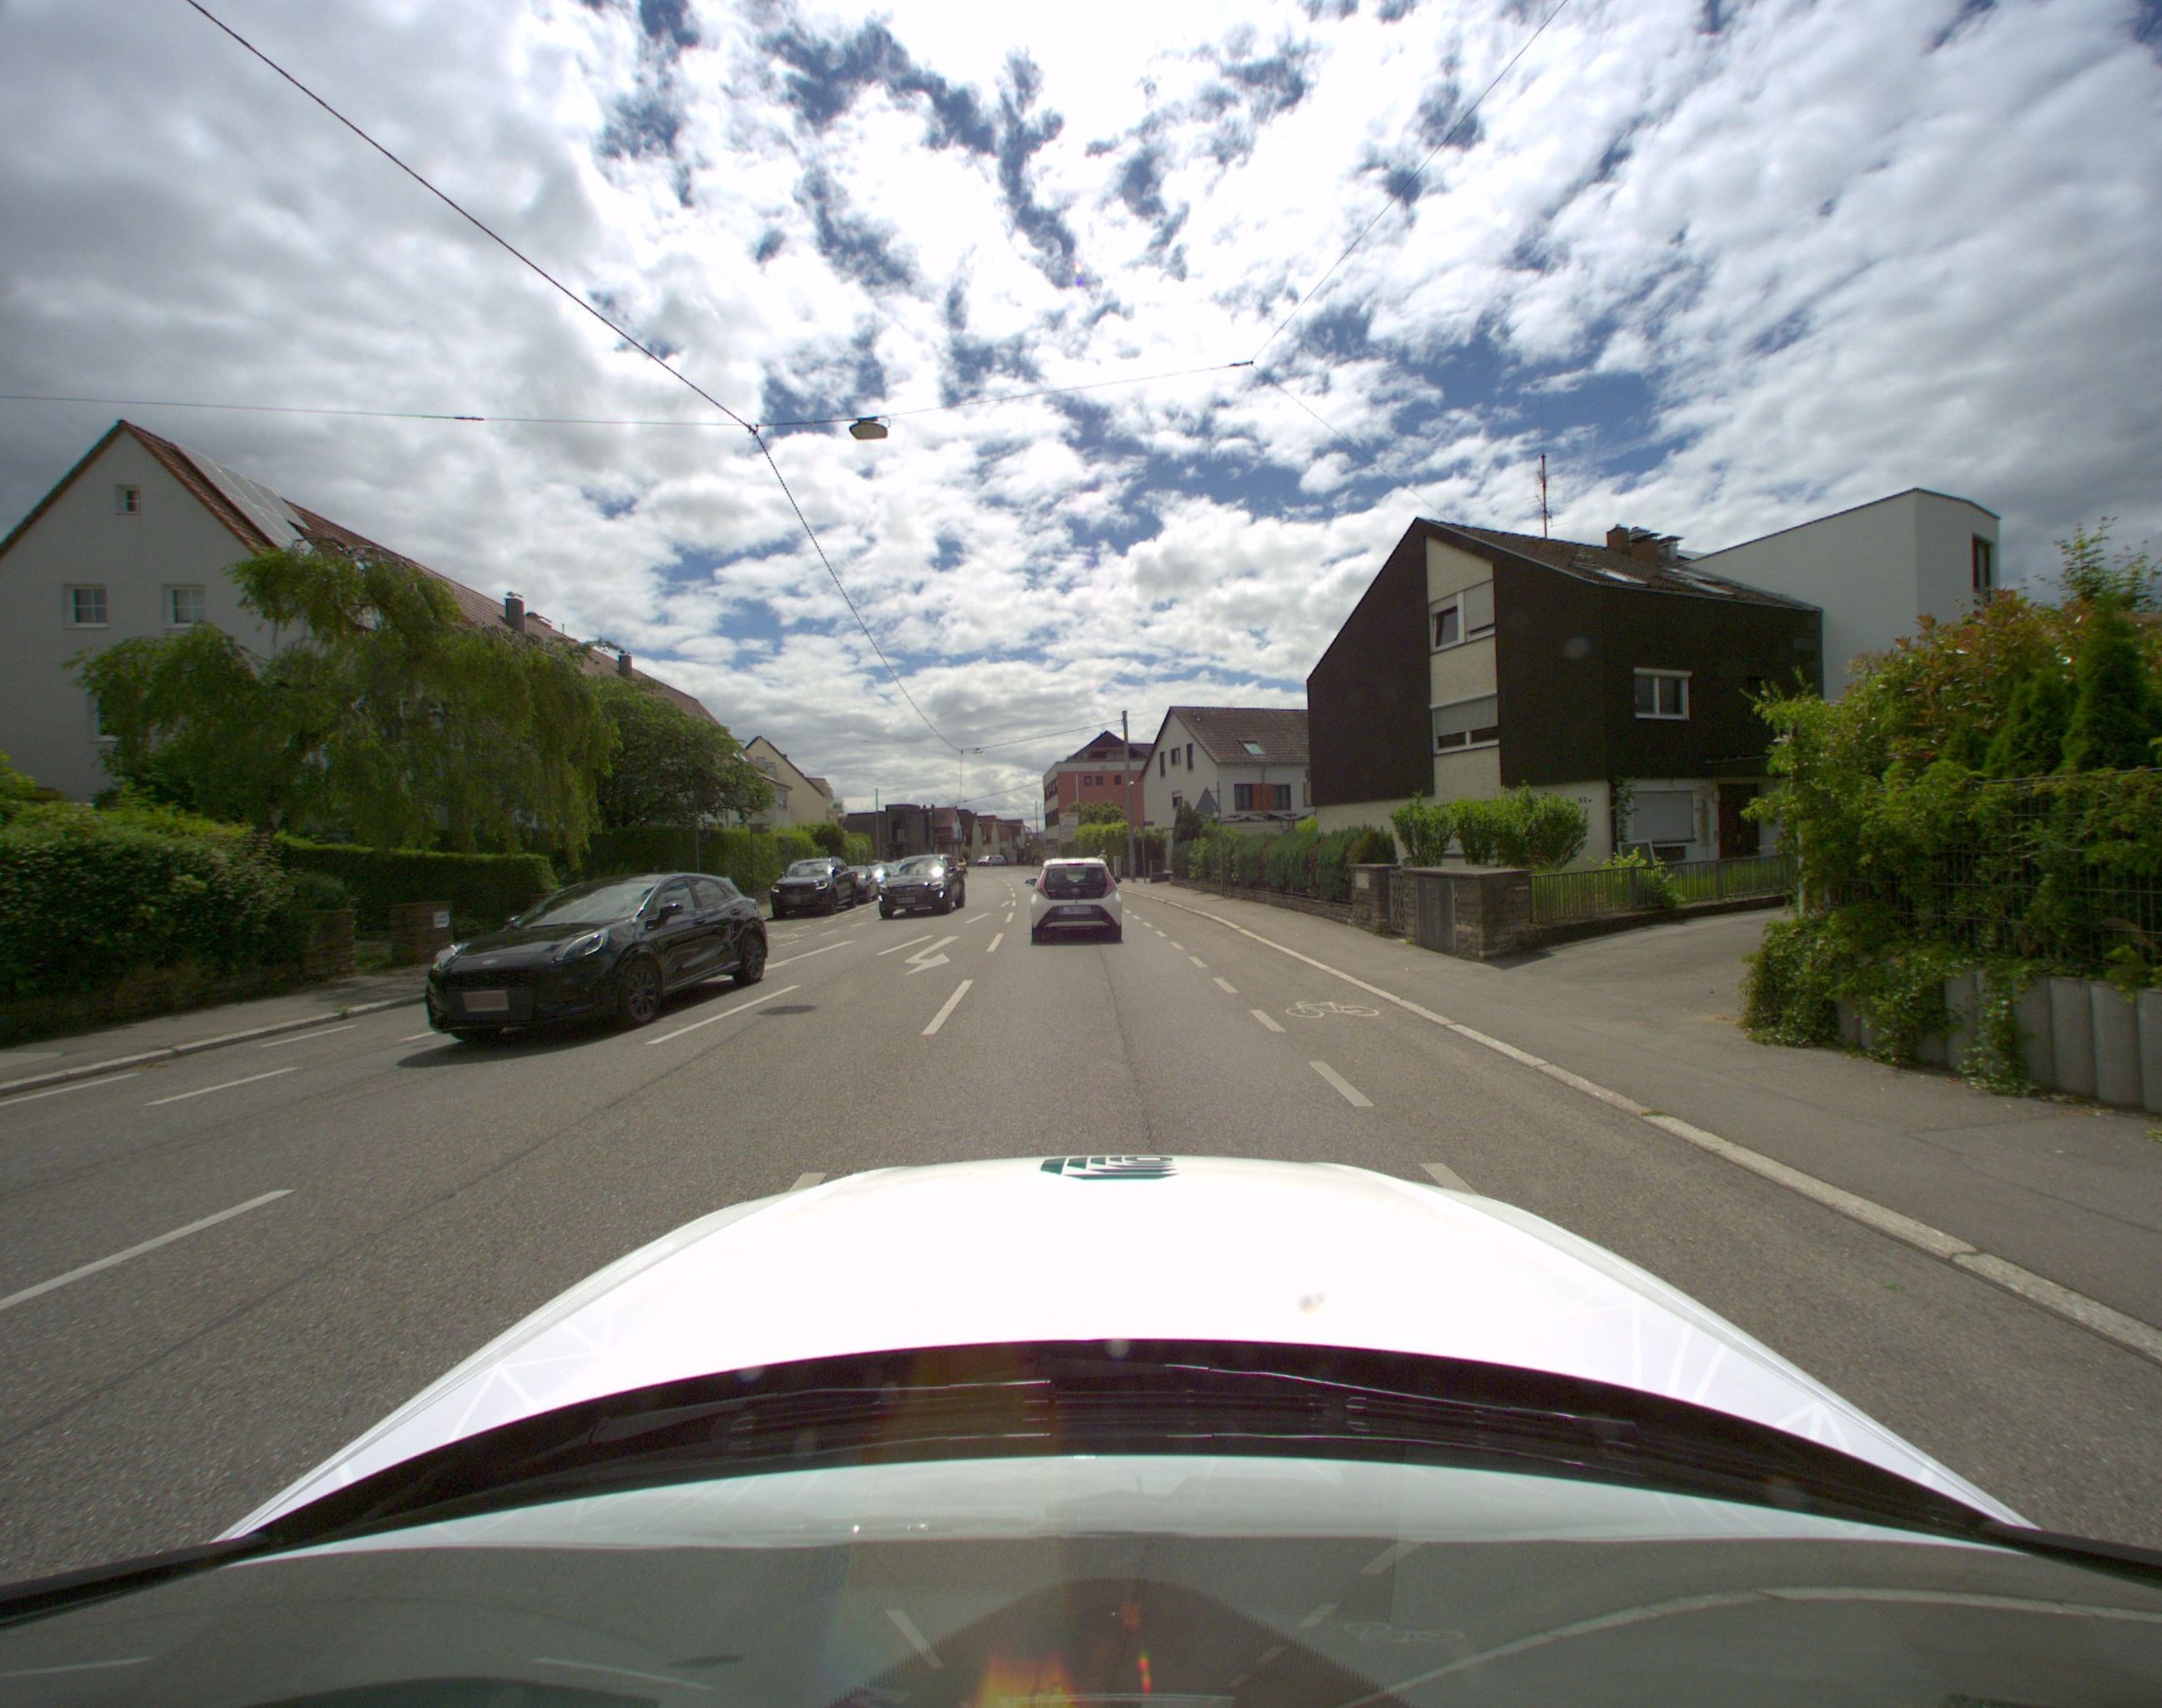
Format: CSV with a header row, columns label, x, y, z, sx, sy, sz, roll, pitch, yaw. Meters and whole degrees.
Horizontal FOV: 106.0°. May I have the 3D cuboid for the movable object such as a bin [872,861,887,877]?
label,x,y,z,sx,sy,sz,roll,pitch,yaw
movable object such as a bin,-17.845,1.302,72.099,1.064,1.313,1.211,-2,0,-7

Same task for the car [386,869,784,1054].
label,x,y,z,sx,sy,sz,roll,pitch,yaw
car,-5.046,0.972,9.095,1.690,1.456,4.119,-4,-1,3

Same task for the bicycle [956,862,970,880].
label,x,y,z,sx,sy,sz,roll,pitch,yaw
bicycle,-9.015,1.294,62.214,0.862,1.301,2.657,-2,0,-4

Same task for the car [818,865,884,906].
label,x,y,z,sx,sy,sz,roll,pitch,yaw
car,-9.096,1.203,32.503,1.775,1.417,4.330,-2,0,-6

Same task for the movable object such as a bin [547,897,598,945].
label,x,y,z,sx,sy,sz,roll,pitch,yaw
movable object such as a bin,-10.670,1.393,17.102,0.675,0.945,0.644,-1,0,-3

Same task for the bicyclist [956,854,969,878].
label,x,y,z,sx,sy,sz,roll,pitch,yaw
bicyclist,-9.030,0.903,62.135,0.791,1.713,1.207,-2,0,-4

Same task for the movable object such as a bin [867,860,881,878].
label,x,y,z,sx,sy,sz,roll,pitch,yaw
movable object such as a bin,-17.996,1.306,70.713,1.065,1.482,1.210,-2,0,-10

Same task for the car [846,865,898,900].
label,x,y,z,sx,sy,sz,roll,pitch,yaw
car,-9.628,1.258,37.769,1.776,1.417,4.428,-2,0,-8

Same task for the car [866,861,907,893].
label,x,y,z,sx,sy,sz,roll,pitch,yaw
car,-10.143,1.149,42.762,1.778,1.491,4.549,-2,0,-11

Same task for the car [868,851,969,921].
label,x,y,z,sx,sy,sz,roll,pitch,yaw
car,-4.553,0.838,23.534,1.910,1.648,4.293,-6,0,0

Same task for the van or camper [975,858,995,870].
label,x,y,z,sx,sy,sz,roll,pitch,yaw
van or camper,-16.102,1.630,136.991,2.104,1.926,5.295,0,-1,7

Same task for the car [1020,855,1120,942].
label,x,y,z,sx,sy,sz,roll,pitch,yaw
car,-0.216,0.768,15.549,1.692,1.456,3.297,-1,-1,-1

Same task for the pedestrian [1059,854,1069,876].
label,x,y,z,sx,sy,sz,roll,pitch,yaw
pedestrian,-1.307,0.827,62.020,0.602,1.605,0.834,-4,0,-7

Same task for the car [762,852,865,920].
label,x,y,z,sx,sy,sz,roll,pitch,yaw
car,-8.738,0.975,27.157,1.991,1.895,5.393,-4,0,-5

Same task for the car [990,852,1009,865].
label,x,y,z,sx,sy,sz,roll,pitch,yaw
car,-12.533,0.681,125.424,1.983,1.904,4.006,0,-1,6

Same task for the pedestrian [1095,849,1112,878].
label,x,y,z,sx,sy,sz,roll,pitch,yaw
pedestrian,1.304,0.558,47.940,0.798,1.617,0.651,-3,0,-7
